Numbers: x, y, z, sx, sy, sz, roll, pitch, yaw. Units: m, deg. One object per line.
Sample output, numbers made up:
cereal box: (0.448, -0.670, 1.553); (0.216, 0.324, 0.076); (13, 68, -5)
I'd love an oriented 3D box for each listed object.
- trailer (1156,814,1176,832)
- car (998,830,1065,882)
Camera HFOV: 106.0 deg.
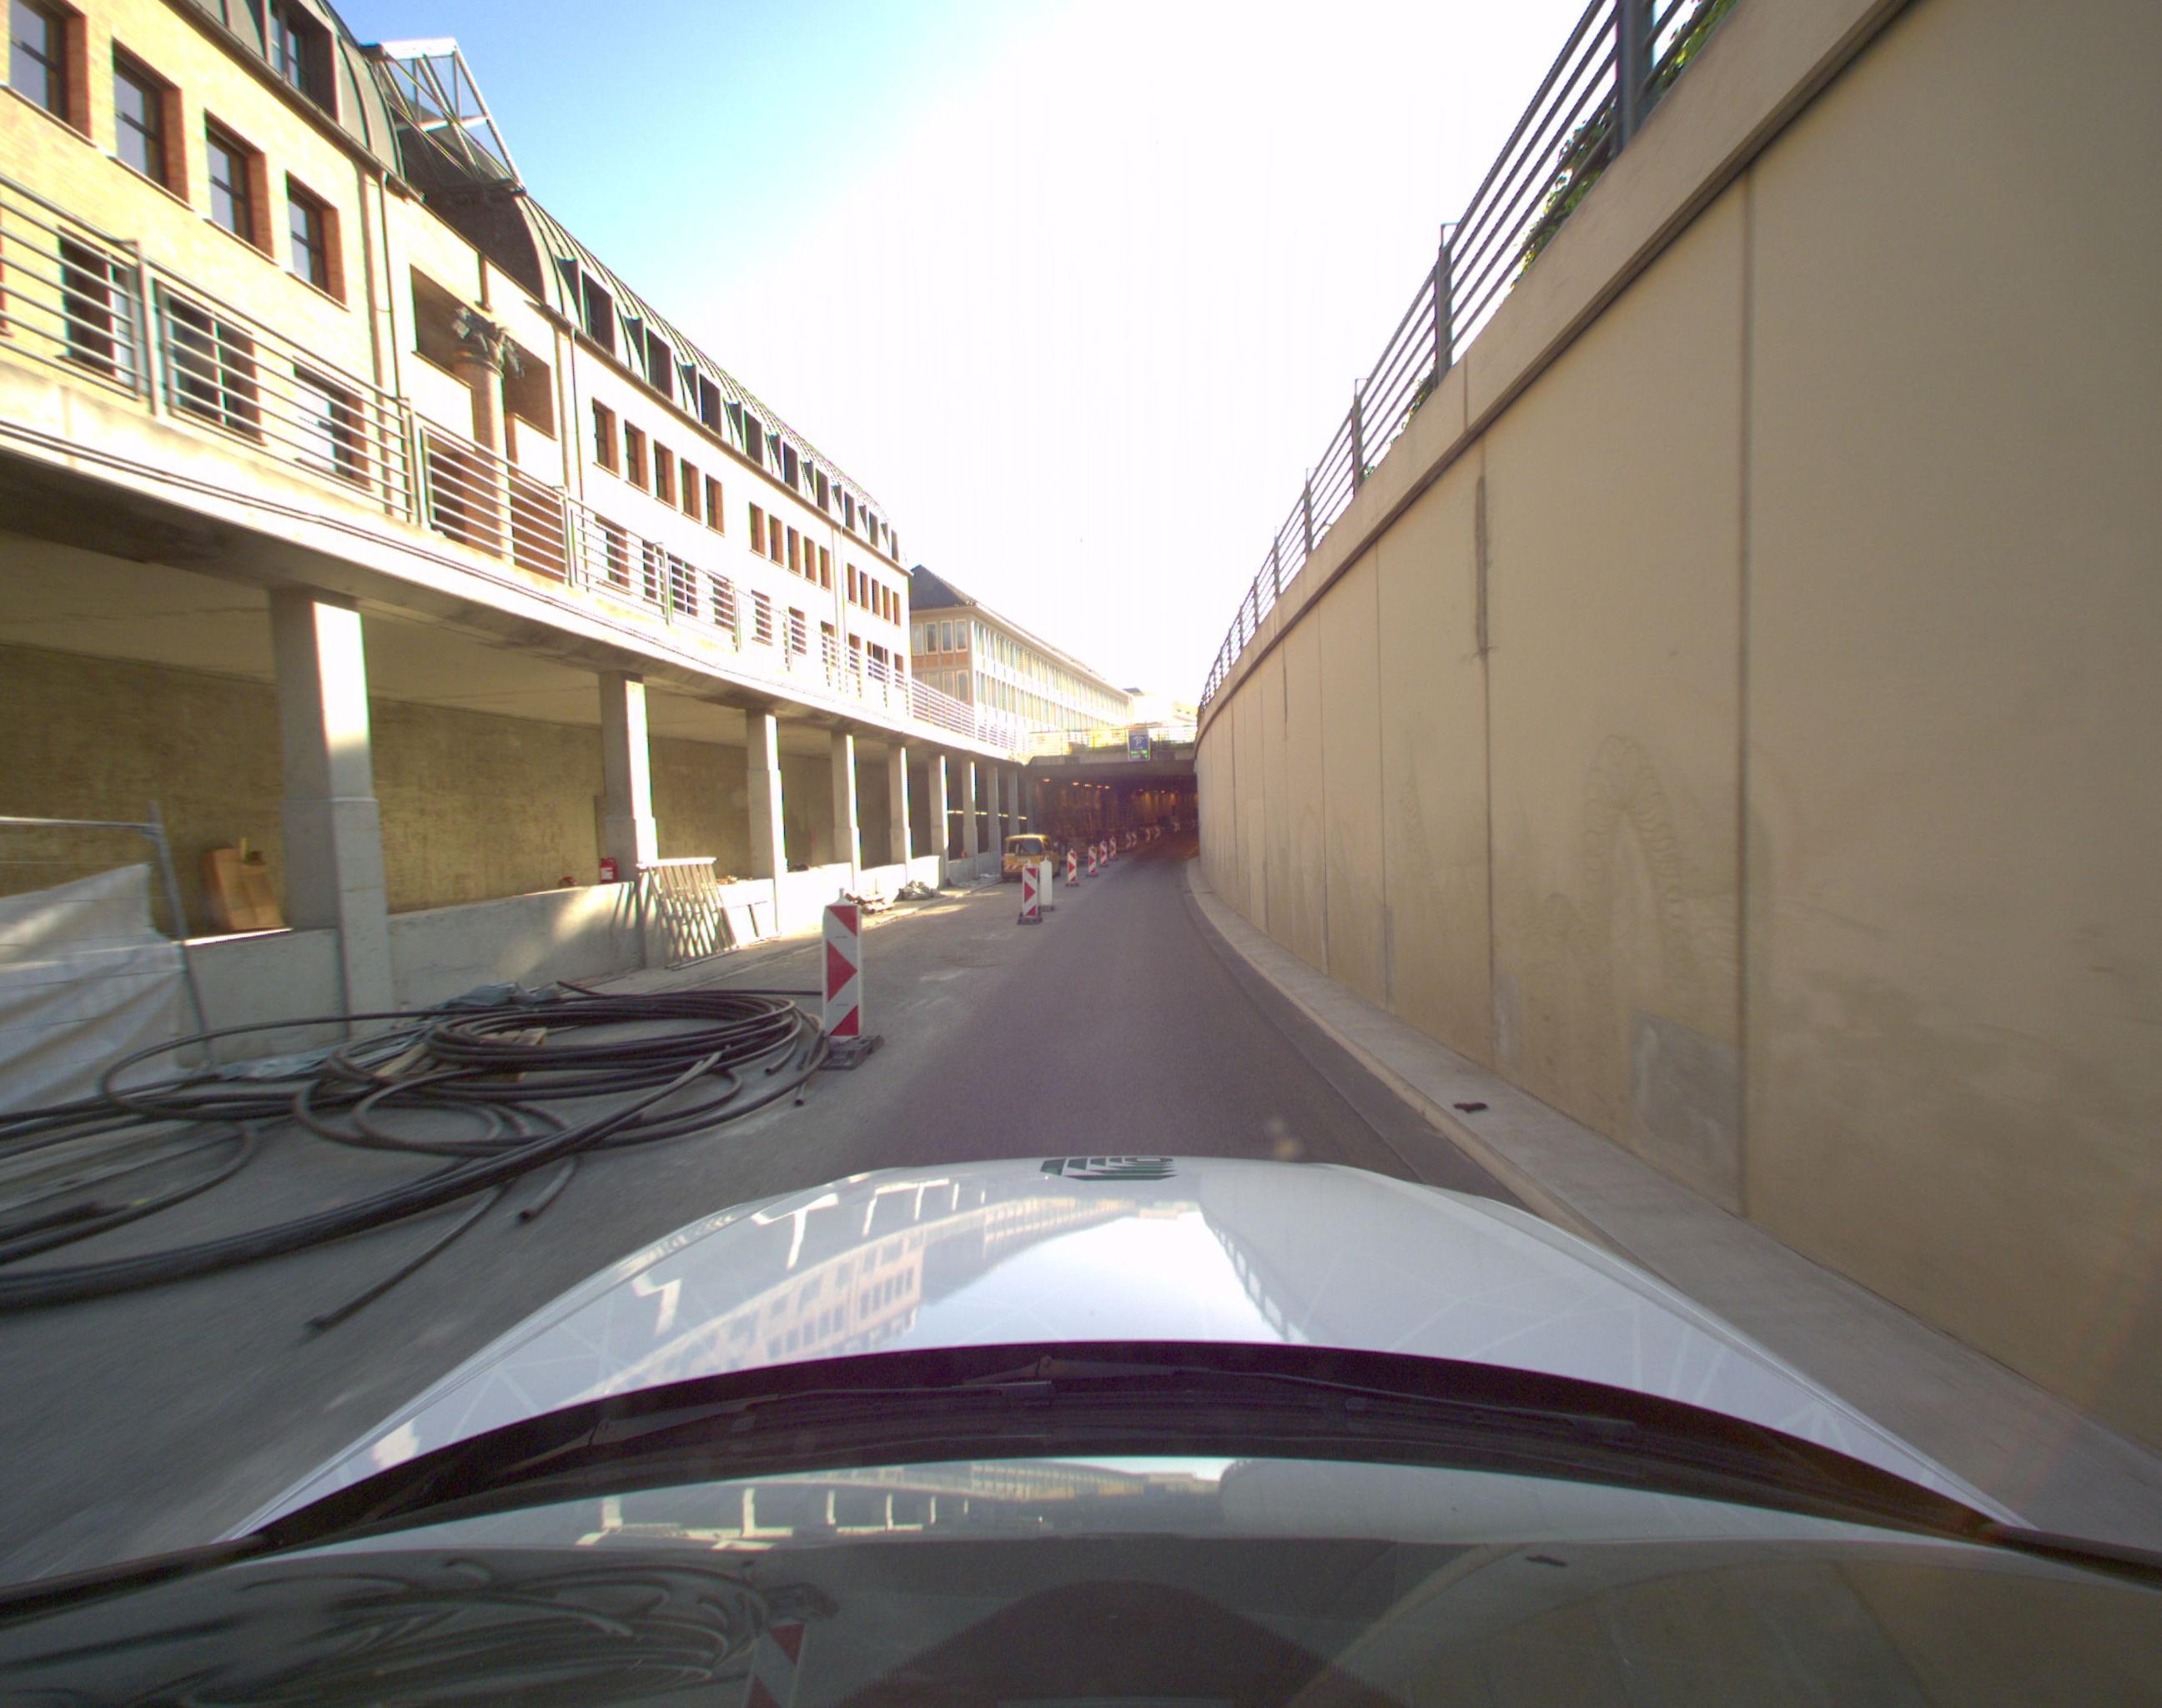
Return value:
trailer: (8.543, -3.143, 81.965); (1.569, 1.797, 2.951); (0, 3, 13)
car: (-1.852, 0.008, 32.107); (1.838, 1.775, 4.444); (-1, 3, 7)
